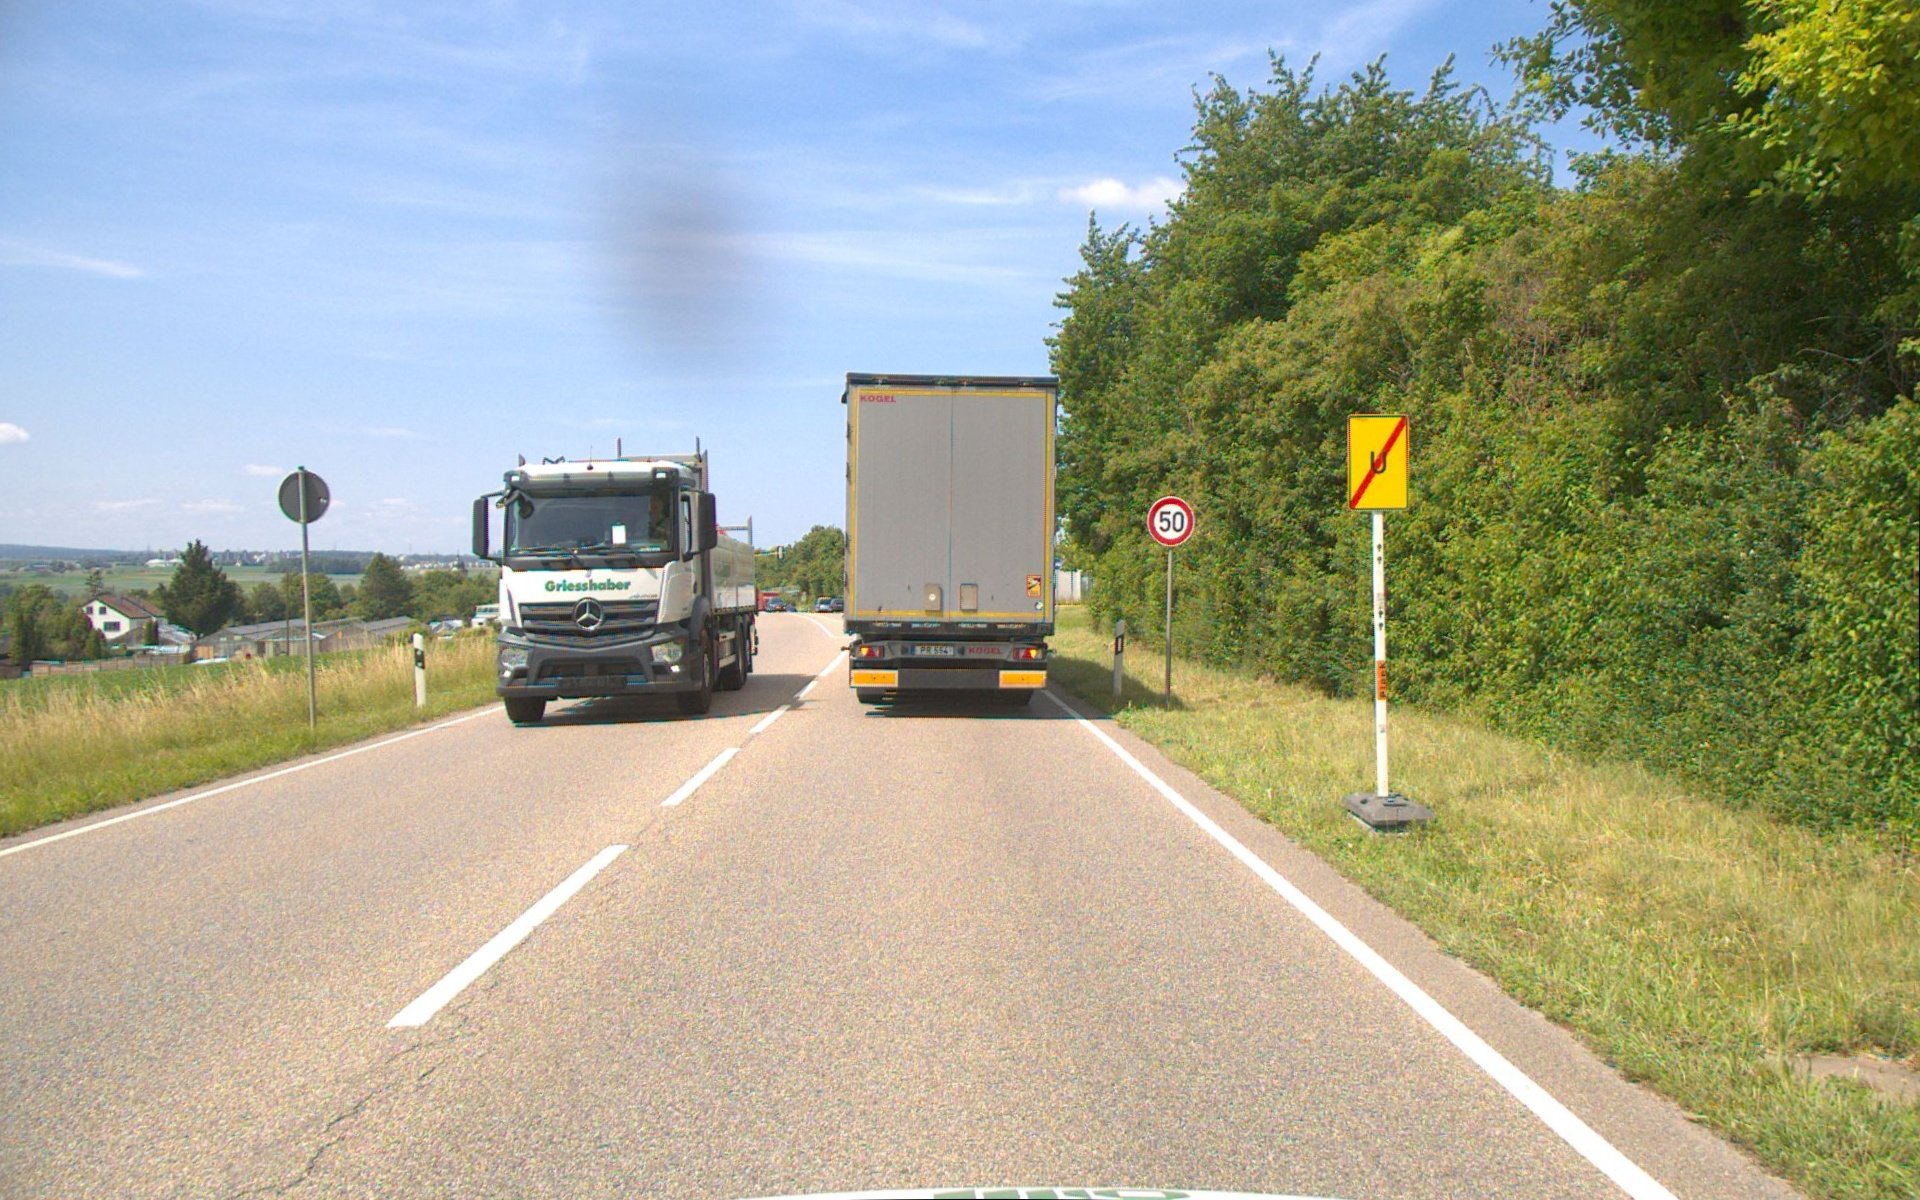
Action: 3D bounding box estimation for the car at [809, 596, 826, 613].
[{"bbox_3d":[-16.514,0.488,191.254,1.855,1.808,4.381,-2,0,-5],"label":"car"}]

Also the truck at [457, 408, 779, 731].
[{"bbox_3d":[-4.591,-0.394,24.817,2.701,3.638,11.061,-3,0,-2],"label":"truck"}]

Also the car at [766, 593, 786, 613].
[{"bbox_3d":[-19.354,0.306,174.267,1.955,1.984,4.497,-3,0,-6],"label":"car"}]

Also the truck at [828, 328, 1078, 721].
[{"bbox_3d":[-0.379,-0.896,23.476,2.850,4.487,8.853,0,0,-4],"label":"truck"}]

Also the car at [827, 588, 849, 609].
[{"bbox_3d":[-12.891,-0.167,174.043,2.129,2.048,4.521,-2,0,-5],"label":"car"}]
